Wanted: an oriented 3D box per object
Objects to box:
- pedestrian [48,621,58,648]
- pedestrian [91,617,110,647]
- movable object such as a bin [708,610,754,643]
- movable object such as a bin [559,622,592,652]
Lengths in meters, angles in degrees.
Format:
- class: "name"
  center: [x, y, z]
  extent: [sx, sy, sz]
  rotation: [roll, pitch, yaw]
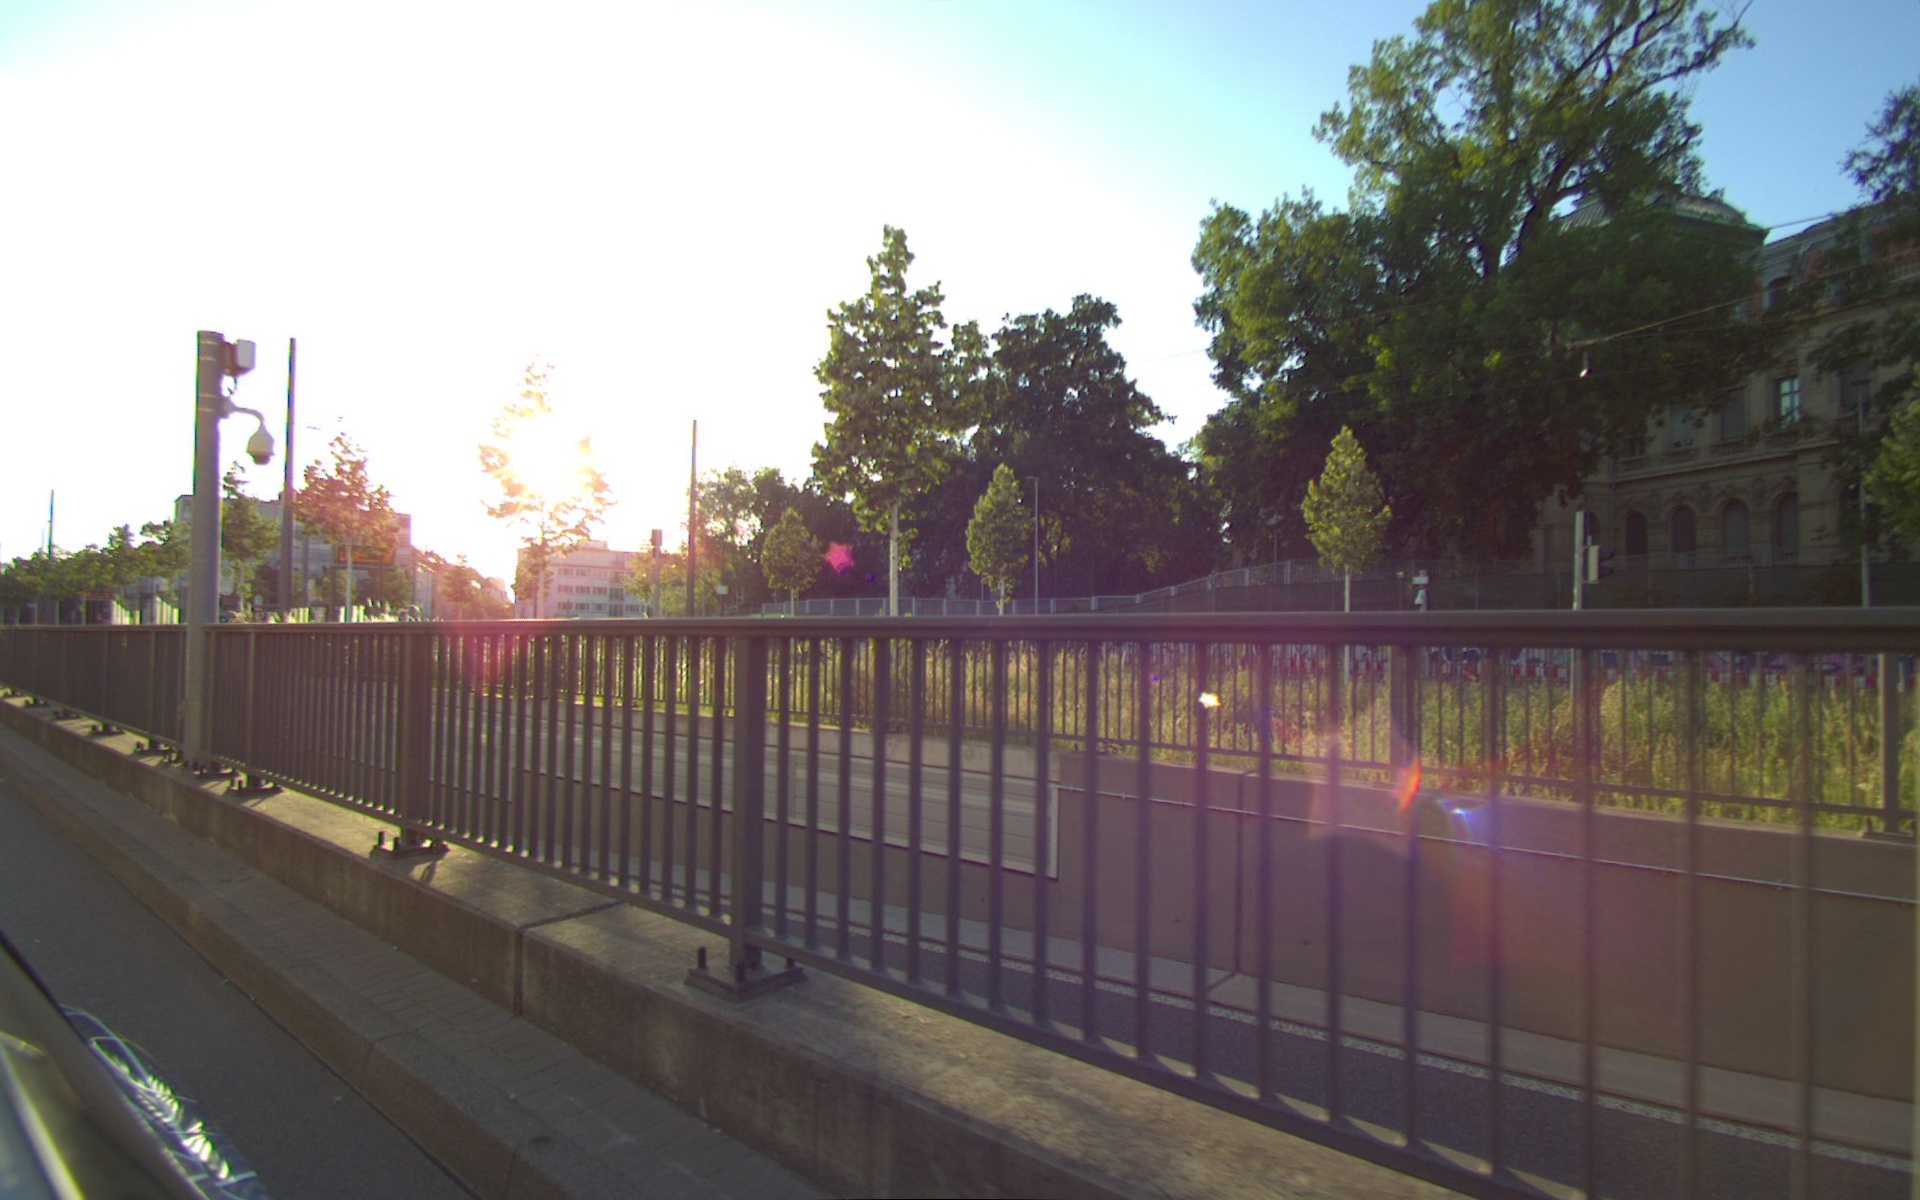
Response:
- class: "pedestrian"
  center: [-61.757, 2.338, 68.887]
  extent: [0.465, 1.800, 0.627]
  rotation: [2, -3, -41]
- class: "pedestrian"
  center: [-49.905, 1.876, 58.758]
  extent: [0.633, 1.742, 0.630]
  rotation: [-1, -3, 29]
- class: "movable object such as a bin"
  center: [-19.581, 2.257, 86.607]
  extent: [4.001, 2.727, 1.971]
  rotation: [-2, -3, 44]
- class: "movable object such as a bin"
  center: [-36.294, 3.461, 95.540]
  extent: [1.967, 2.727, 4.010]
  rotation: [2, -2, -35]
